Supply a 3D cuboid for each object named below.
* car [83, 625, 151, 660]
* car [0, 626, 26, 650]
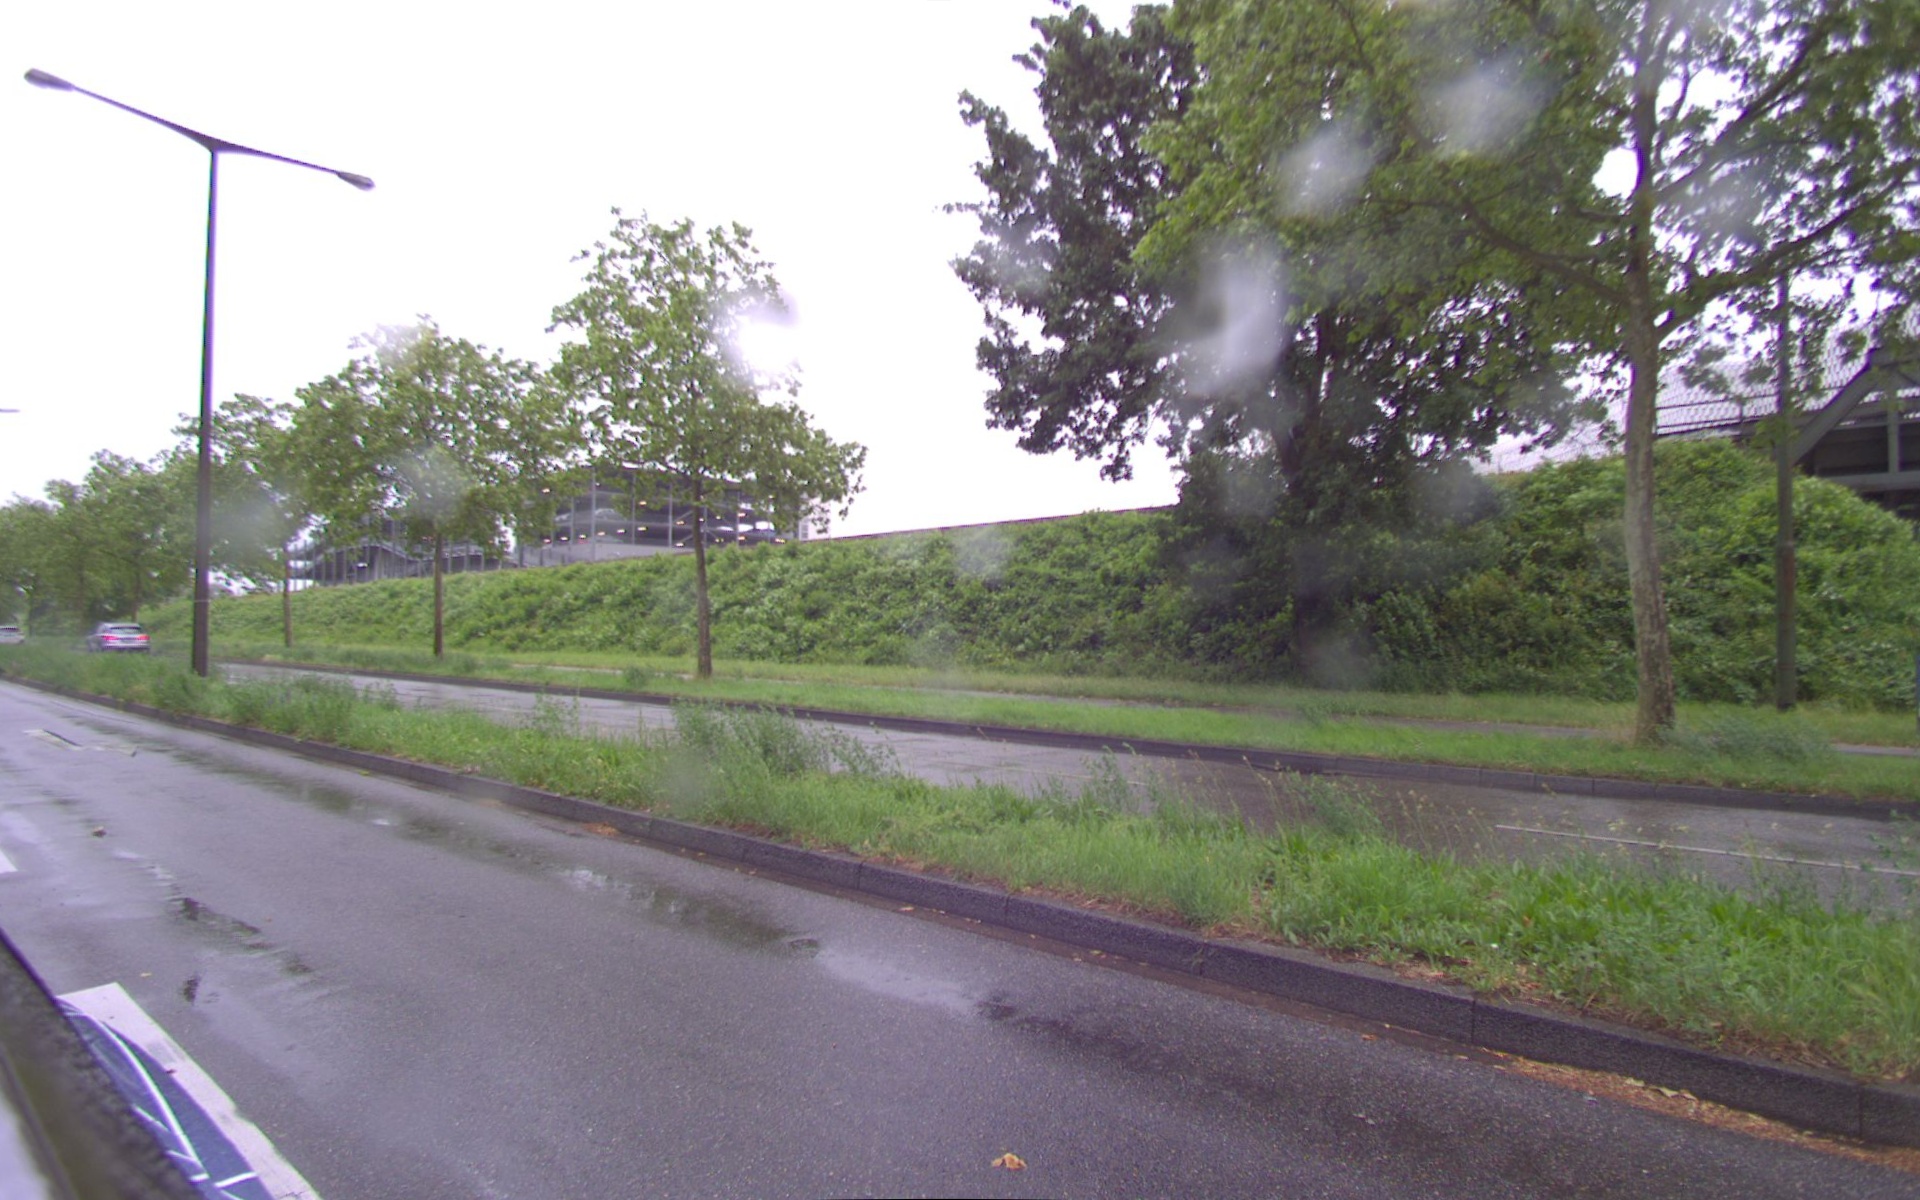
[{"bbox_3d":[-40.742,2.024,48.886,4.517,1.601,1.837,-1,-4,42],"label":"car"},{"bbox_3d":[-66.615,2.633,70.487,4.516,1.601,1.837,-1,-3,41],"label":"car"}]
